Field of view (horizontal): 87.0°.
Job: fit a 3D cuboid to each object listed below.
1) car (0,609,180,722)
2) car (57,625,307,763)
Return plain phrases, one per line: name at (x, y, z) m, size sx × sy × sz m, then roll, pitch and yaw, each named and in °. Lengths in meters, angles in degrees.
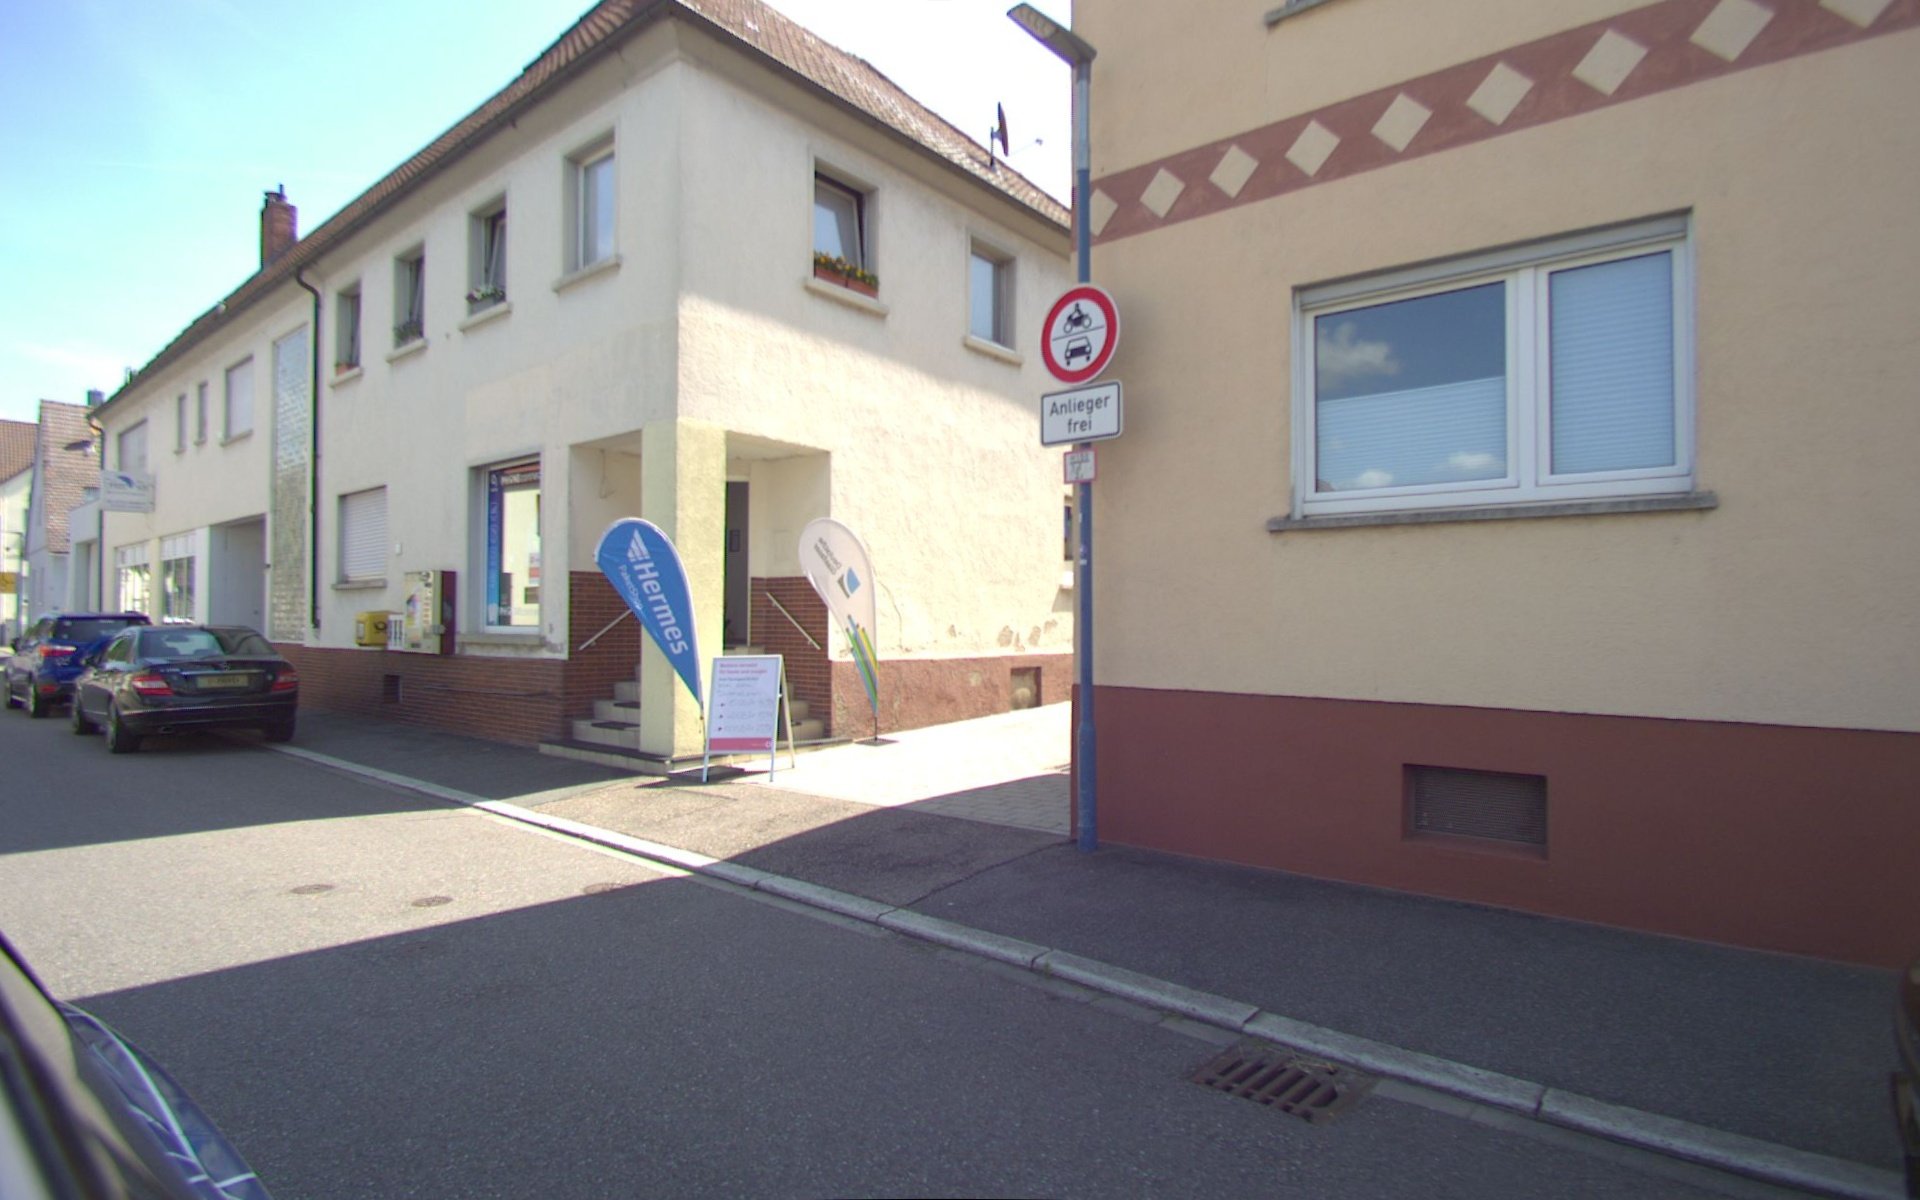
car at (-14.623, 1.032, 16.838) m, size 4.145 × 1.652 × 1.700 m, roll -1°, pitch -4°, yaw 40°
car at (-9.851, 1.035, 12.686) m, size 4.388 × 1.422 × 1.680 m, roll -1°, pitch -2°, yaw 41°
